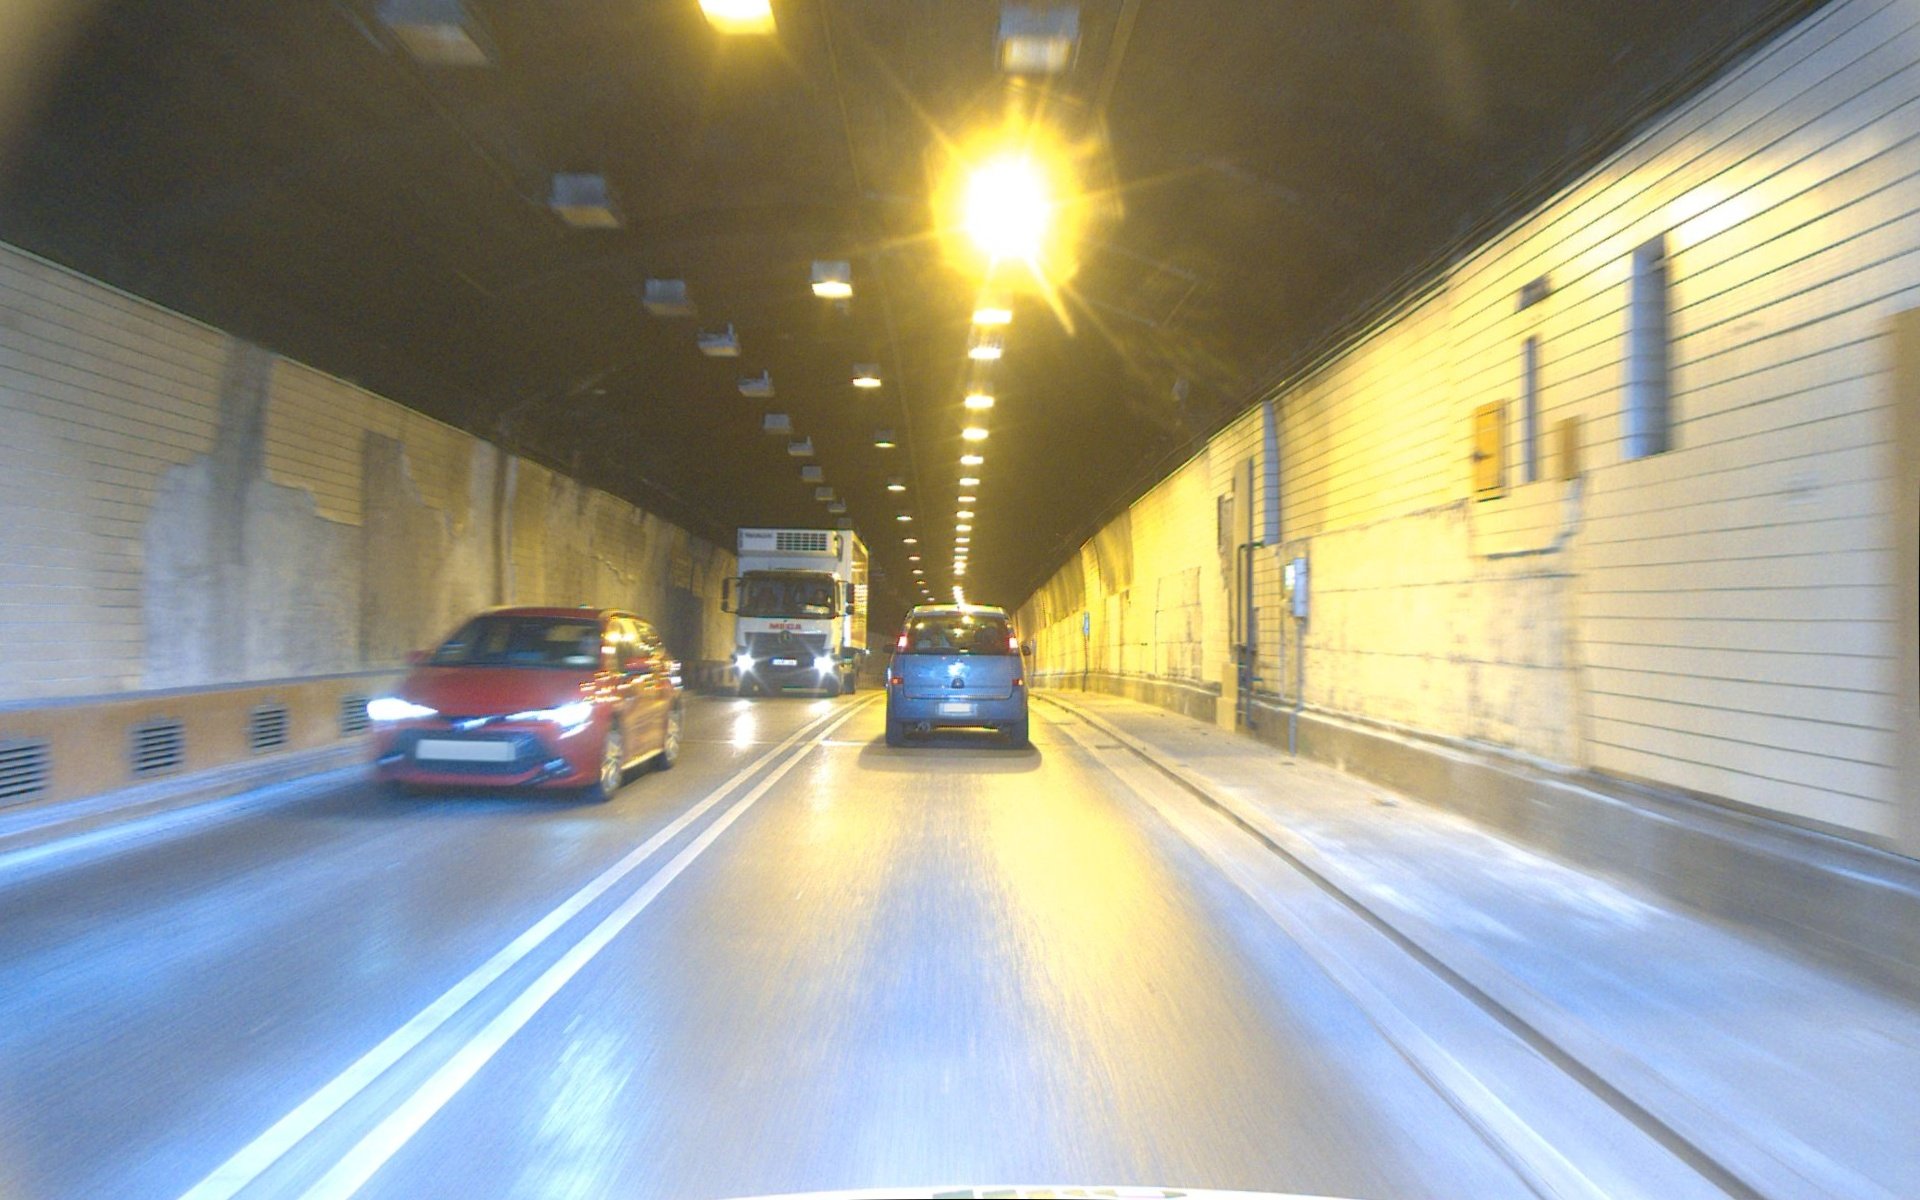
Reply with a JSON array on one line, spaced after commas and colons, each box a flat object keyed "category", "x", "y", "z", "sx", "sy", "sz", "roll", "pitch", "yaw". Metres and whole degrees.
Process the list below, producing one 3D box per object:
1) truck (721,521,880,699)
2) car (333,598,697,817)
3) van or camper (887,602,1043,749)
[{"category": "truck", "x": -3.556, "y": 0.349, "z": 38.854, "sx": 2.755, "sy": 3.781, "sz": 7.546, "roll": 0, "pitch": -2, "yaw": 2}, {"category": "car", "x": -3.423, "y": 0.779, "z": 13.585, "sx": 1.854, "sy": 1.495, "sz": 4.159, "roll": 1, "pitch": -1, "yaw": 0}, {"category": "van or camper", "x": 0.005, "y": 0.865, "z": 20.164, "sx": 1.700, "sy": 1.605, "sz": 3.644, "roll": 1, "pitch": -1, "yaw": -2}]
